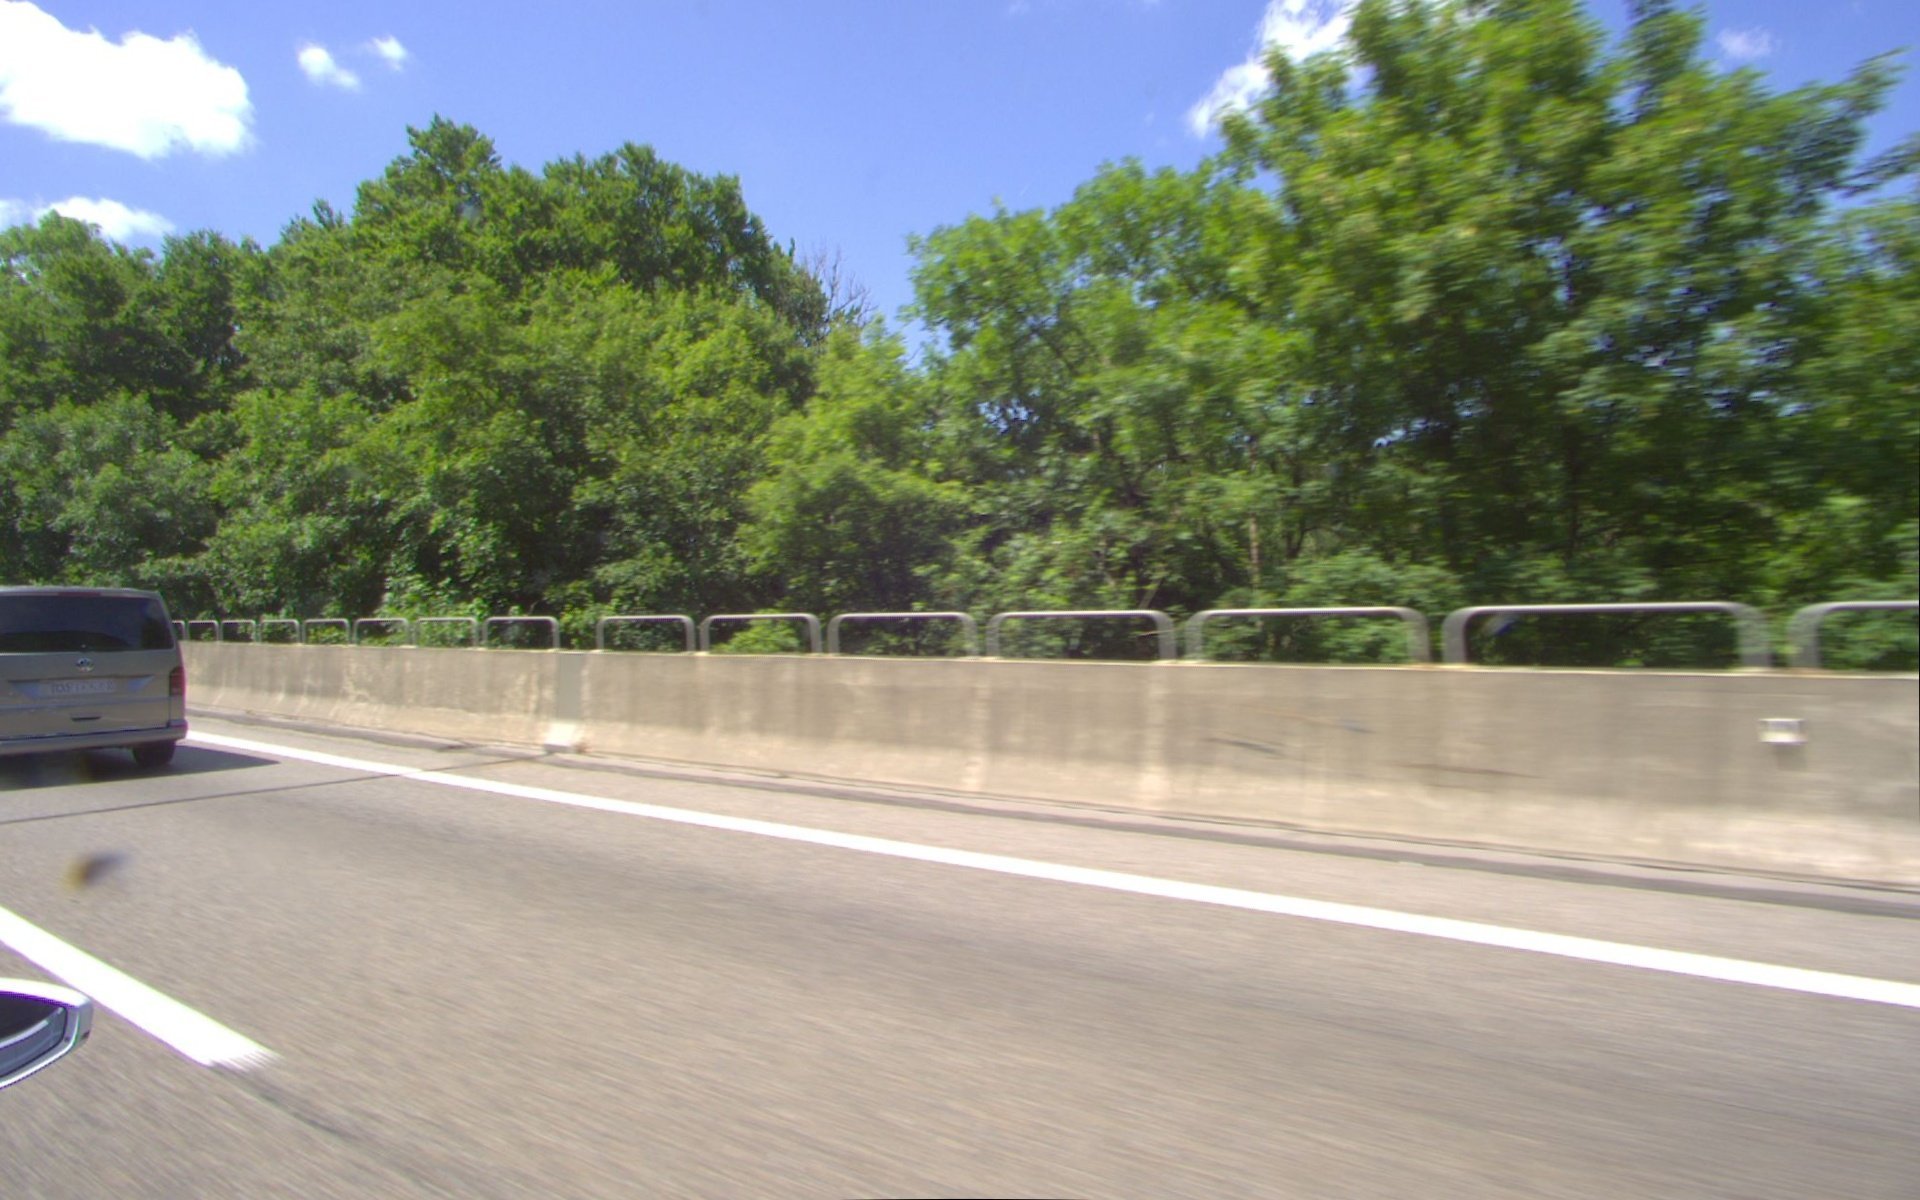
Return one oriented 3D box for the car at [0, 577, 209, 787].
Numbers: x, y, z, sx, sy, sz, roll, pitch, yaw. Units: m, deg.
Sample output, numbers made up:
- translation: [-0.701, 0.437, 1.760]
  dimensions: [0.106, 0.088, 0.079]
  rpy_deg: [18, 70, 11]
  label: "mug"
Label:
- translation: [-10.523, 0.813, 11.240]
  dimensions: [4.629, 1.956, 1.936]
  rpy_deg: [-1, -1, 34]
  label: "car"
